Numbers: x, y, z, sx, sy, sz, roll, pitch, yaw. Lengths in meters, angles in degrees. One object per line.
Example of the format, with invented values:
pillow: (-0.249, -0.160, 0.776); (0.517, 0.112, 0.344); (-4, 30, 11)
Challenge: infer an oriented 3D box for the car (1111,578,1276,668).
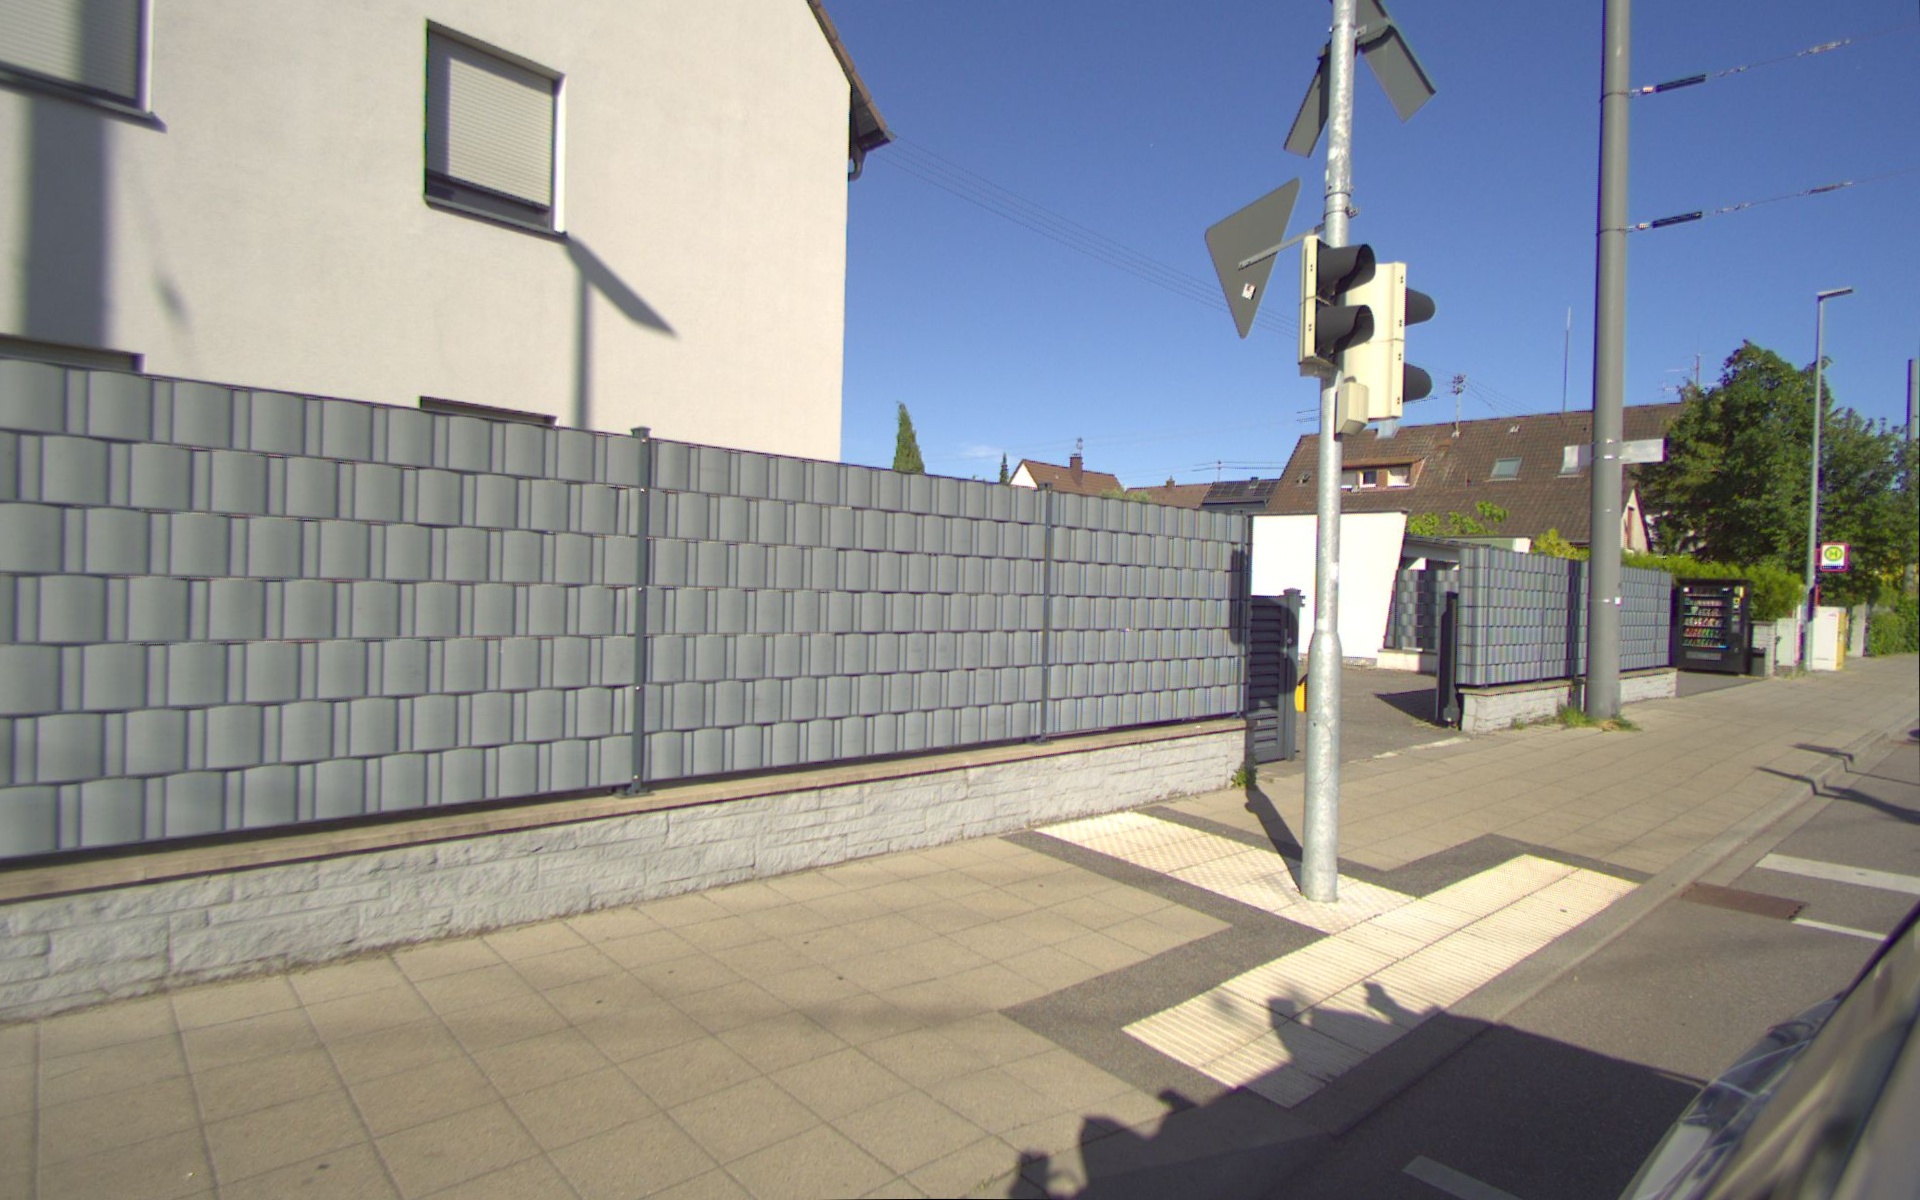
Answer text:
car: (4.319, 0.357, 18.440); (1.554, 1.480, 3.438); (0, 1, 40)

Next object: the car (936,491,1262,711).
car: (1.632, -0.057, 13.990); (1.959, 2.462, 5.000); (0, 1, -27)
